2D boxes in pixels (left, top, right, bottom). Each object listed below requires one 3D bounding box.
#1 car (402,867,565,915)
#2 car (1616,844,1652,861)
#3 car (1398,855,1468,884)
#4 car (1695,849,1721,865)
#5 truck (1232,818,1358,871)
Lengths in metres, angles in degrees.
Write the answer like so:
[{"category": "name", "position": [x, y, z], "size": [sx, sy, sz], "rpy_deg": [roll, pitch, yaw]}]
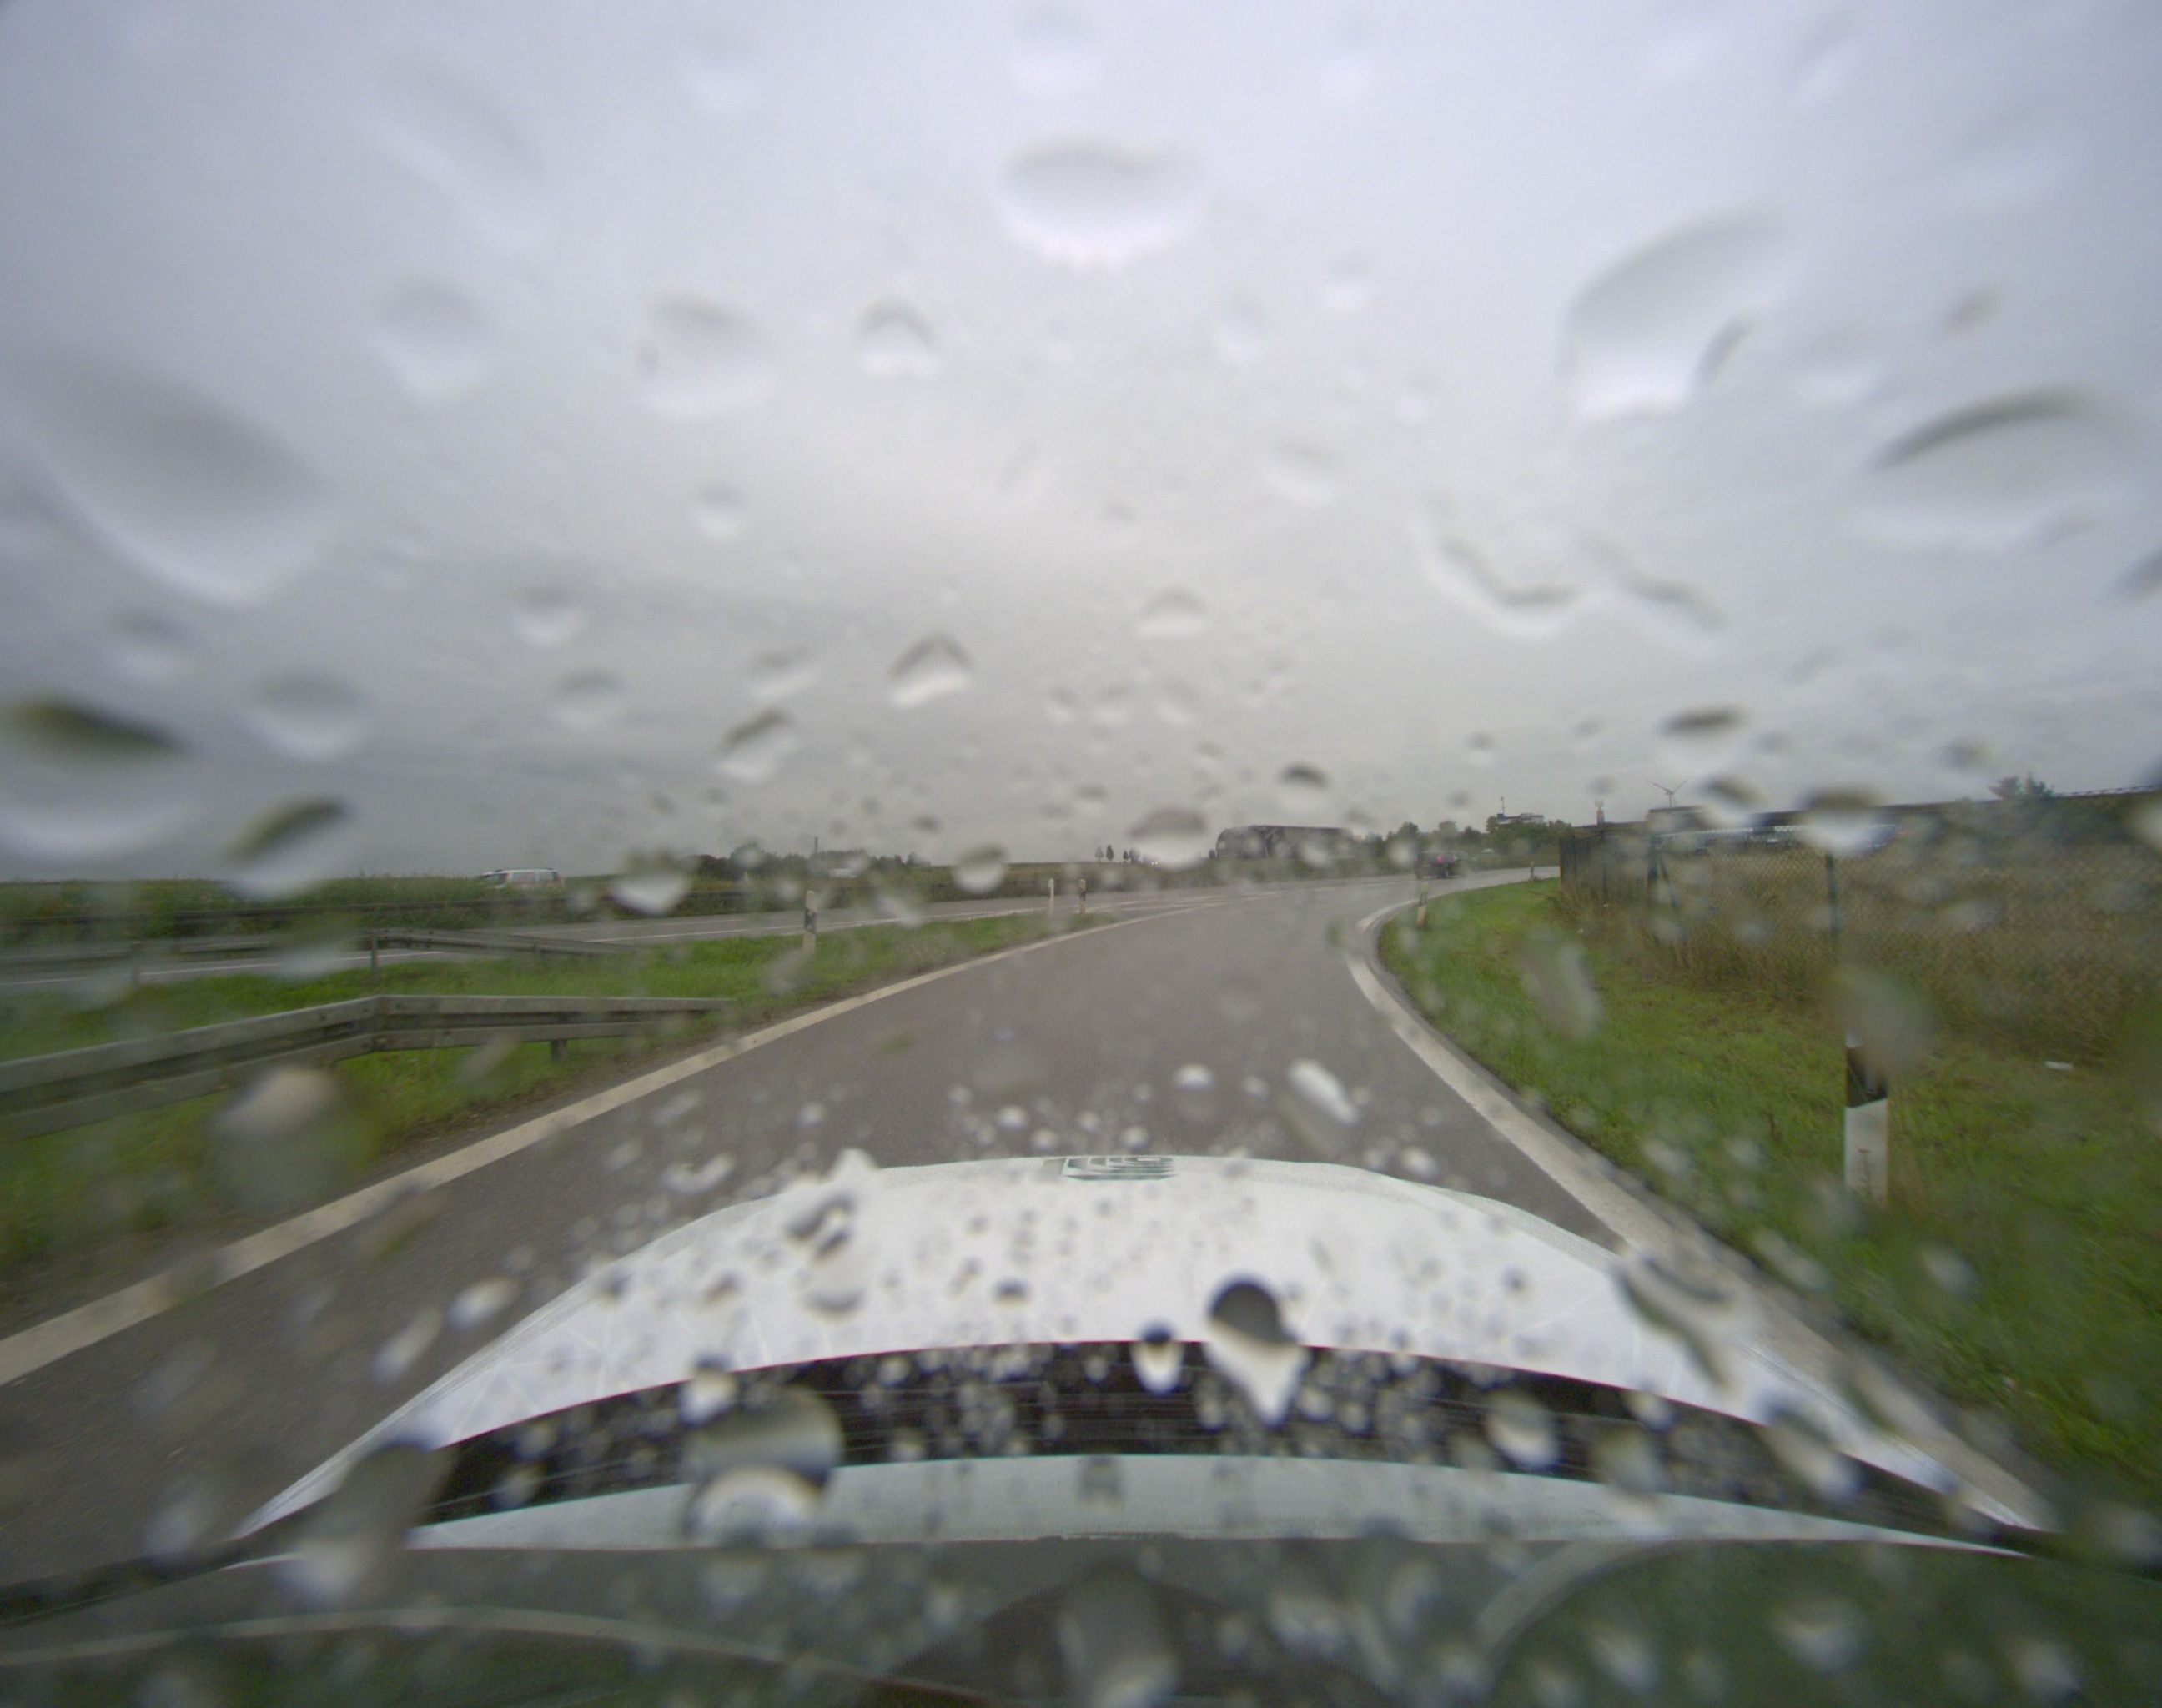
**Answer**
[{"category": "car", "position": [-21.674, 1.282, 29.656], "size": [4.557, 1.539, 2.086], "rpy_deg": [0, 0, -44]}, {"category": "car", "position": [54.204, -0.132, 79.761], "size": [4.374, 1.636, 2.034], "rpy_deg": [0, -1, -43]}, {"category": "car", "position": [20.621, 0.894, 47.597], "size": [4.621, 1.636, 2.126], "rpy_deg": [0, -1, -43]}, {"category": "car", "position": [80.772, 0.391, 104.936], "size": [4.023, 1.697, 1.975], "rpy_deg": [-3, -2, -43]}, {"category": "truck", "position": [17.837, -0.758, 66.785], "size": [13.891, 3.966, 3.166], "rpy_deg": [-1, 1, -43]}]
